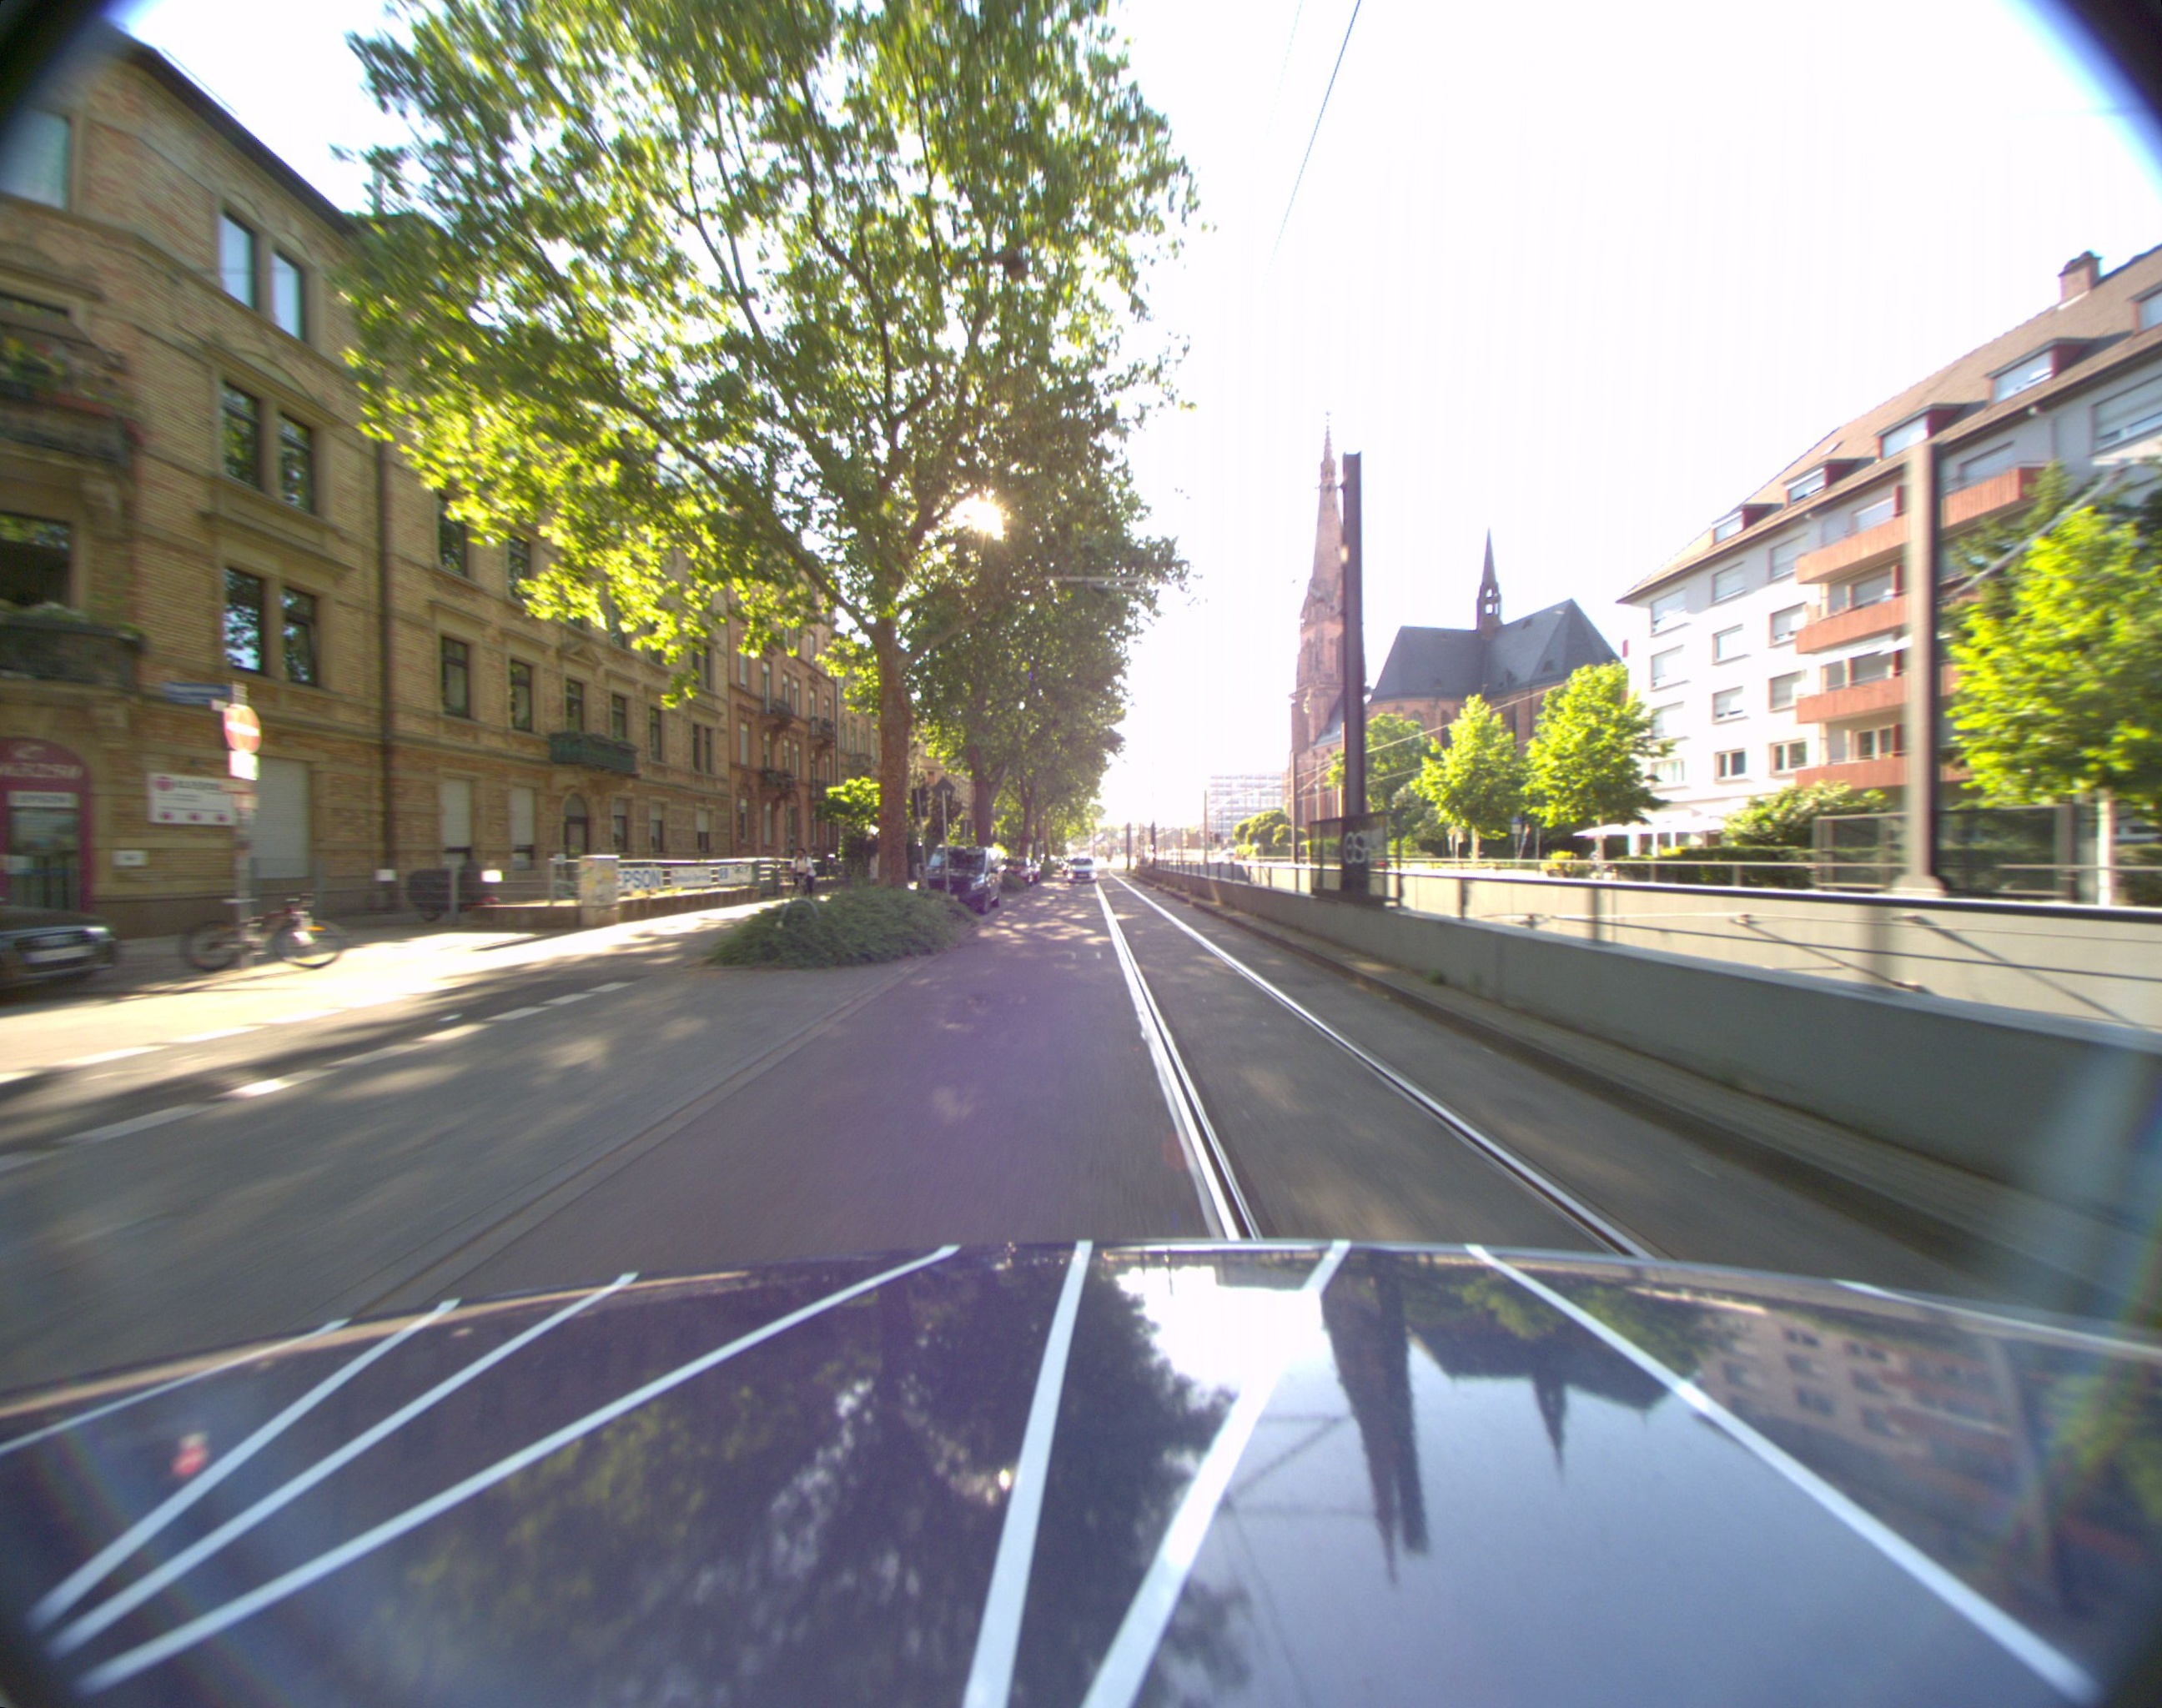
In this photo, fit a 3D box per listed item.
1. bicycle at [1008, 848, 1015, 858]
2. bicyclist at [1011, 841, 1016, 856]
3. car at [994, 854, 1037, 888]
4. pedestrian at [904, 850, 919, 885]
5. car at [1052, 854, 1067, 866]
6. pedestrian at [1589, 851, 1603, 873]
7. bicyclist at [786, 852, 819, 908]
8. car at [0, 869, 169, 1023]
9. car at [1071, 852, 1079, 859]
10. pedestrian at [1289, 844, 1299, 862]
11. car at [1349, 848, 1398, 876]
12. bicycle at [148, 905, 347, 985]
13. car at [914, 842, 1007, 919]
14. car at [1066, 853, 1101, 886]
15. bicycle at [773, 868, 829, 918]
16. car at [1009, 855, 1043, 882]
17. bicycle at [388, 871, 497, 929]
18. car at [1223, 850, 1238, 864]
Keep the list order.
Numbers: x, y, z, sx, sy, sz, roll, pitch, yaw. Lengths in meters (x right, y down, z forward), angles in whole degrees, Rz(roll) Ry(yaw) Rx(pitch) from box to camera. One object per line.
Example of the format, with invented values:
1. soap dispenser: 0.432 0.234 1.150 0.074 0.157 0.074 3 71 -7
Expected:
1. bicycle: -7.523 -0.067 82.344 0.562 1.031 1.932 -5 -1 -7
2. bicyclist: -7.317 -0.620 82.462 0.544 1.616 0.644 0 0 -4
3. car: -3.275 0.814 38.688 1.718 1.540 4.500 1 1 1
4. pedestrian: -7.978 0.619 35.793 0.531 1.618 0.618 1 0 1
5. car: -2.789 0.725 100.295 1.680 1.507 4.723 0 0 2
6. pedestrian: 39.149 0.621 57.742 0.512 1.645 0.720 -3 1 -1
7. bicyclist: -7.101 0.658 19.368 0.544 1.372 0.644 -3 0 -1
8. car: -13.406 0.997 8.144 4.615 1.539 1.922 -1 0 -5
9. car: -1.456 0.443 186.395 1.823 1.605 4.000 -3 0 1
10. pedestrian: 19.432 -0.077 69.422 0.494 1.663 0.754 -3 1 -14
11. car: 17.617 0.463 45.965 1.974 1.495 4.411 -3 0 11
12. bicycle: -10.720 1.152 9.825 1.696 0.911 0.602 -1 1 -11
13. car: -3.399 0.712 22.408 1.999 2.002 5.201 0 0 -1
14. car: 0.197 0.856 43.575 1.823 1.729 4.000 1 1 2
15. bicycle: -7.087 0.968 19.335 0.562 1.171 2.226 -3 -1 -1
16. car: -3.224 0.834 45.022 1.719 1.454 3.999 0 1 0
17. bicycle: -12.934 0.924 15.400 1.867 1.147 0.476 -1 1 4
18. car: 23.251 0.418 118.168 1.997 2.002 5.015 1 1 9
